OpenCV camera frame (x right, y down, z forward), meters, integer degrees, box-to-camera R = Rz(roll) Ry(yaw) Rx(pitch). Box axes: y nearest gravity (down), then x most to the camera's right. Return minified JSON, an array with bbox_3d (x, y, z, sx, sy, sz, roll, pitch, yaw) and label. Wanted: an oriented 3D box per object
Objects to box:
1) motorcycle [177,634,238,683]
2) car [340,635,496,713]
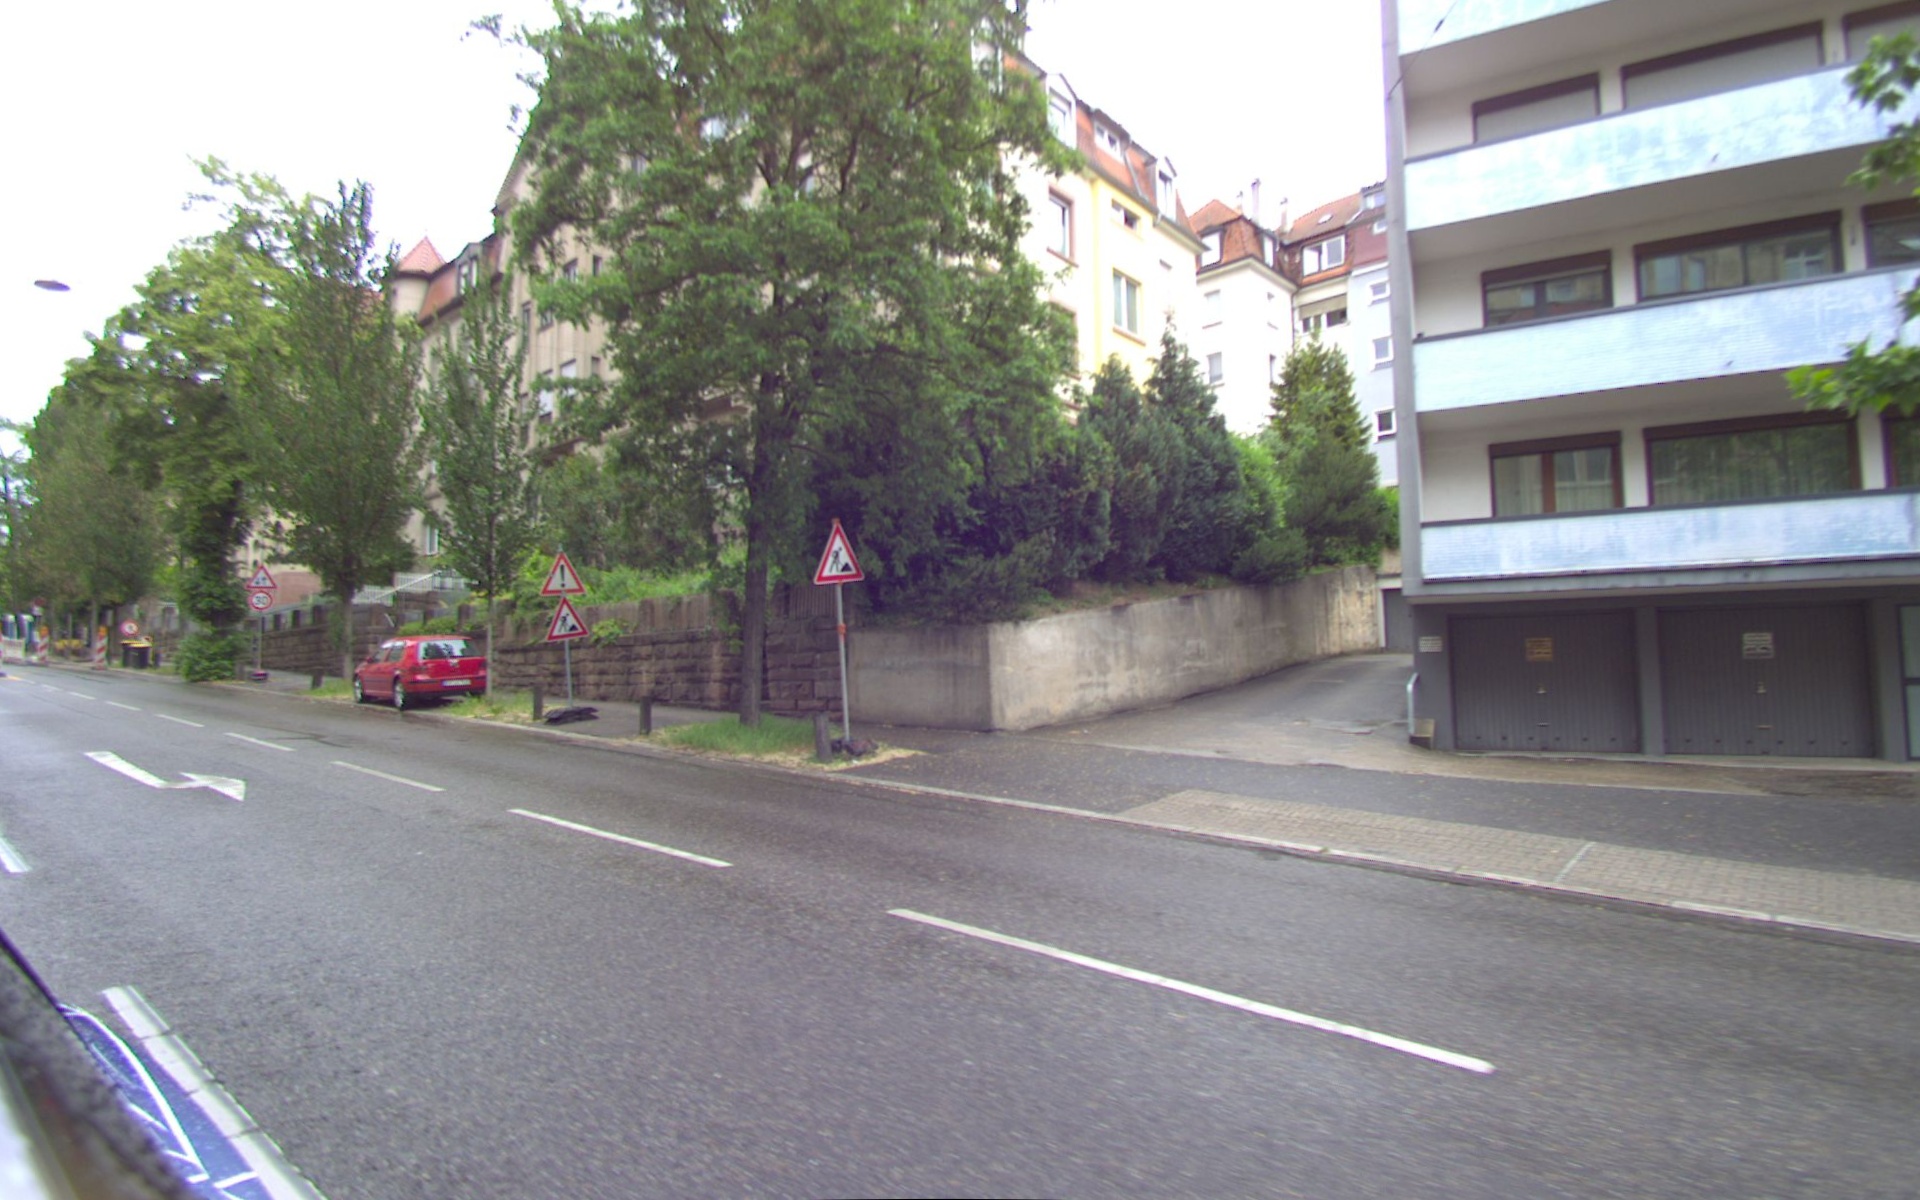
[{"bbox_3d":[-23.578,1.813,31.690,3.058,1.425,0.792,-2,-1,39],"label":"motorcycle"},{"bbox_3d":[-11.415,1.473,21.210,4.063,1.462,1.596,-1,-2,42],"label":"car"}]
